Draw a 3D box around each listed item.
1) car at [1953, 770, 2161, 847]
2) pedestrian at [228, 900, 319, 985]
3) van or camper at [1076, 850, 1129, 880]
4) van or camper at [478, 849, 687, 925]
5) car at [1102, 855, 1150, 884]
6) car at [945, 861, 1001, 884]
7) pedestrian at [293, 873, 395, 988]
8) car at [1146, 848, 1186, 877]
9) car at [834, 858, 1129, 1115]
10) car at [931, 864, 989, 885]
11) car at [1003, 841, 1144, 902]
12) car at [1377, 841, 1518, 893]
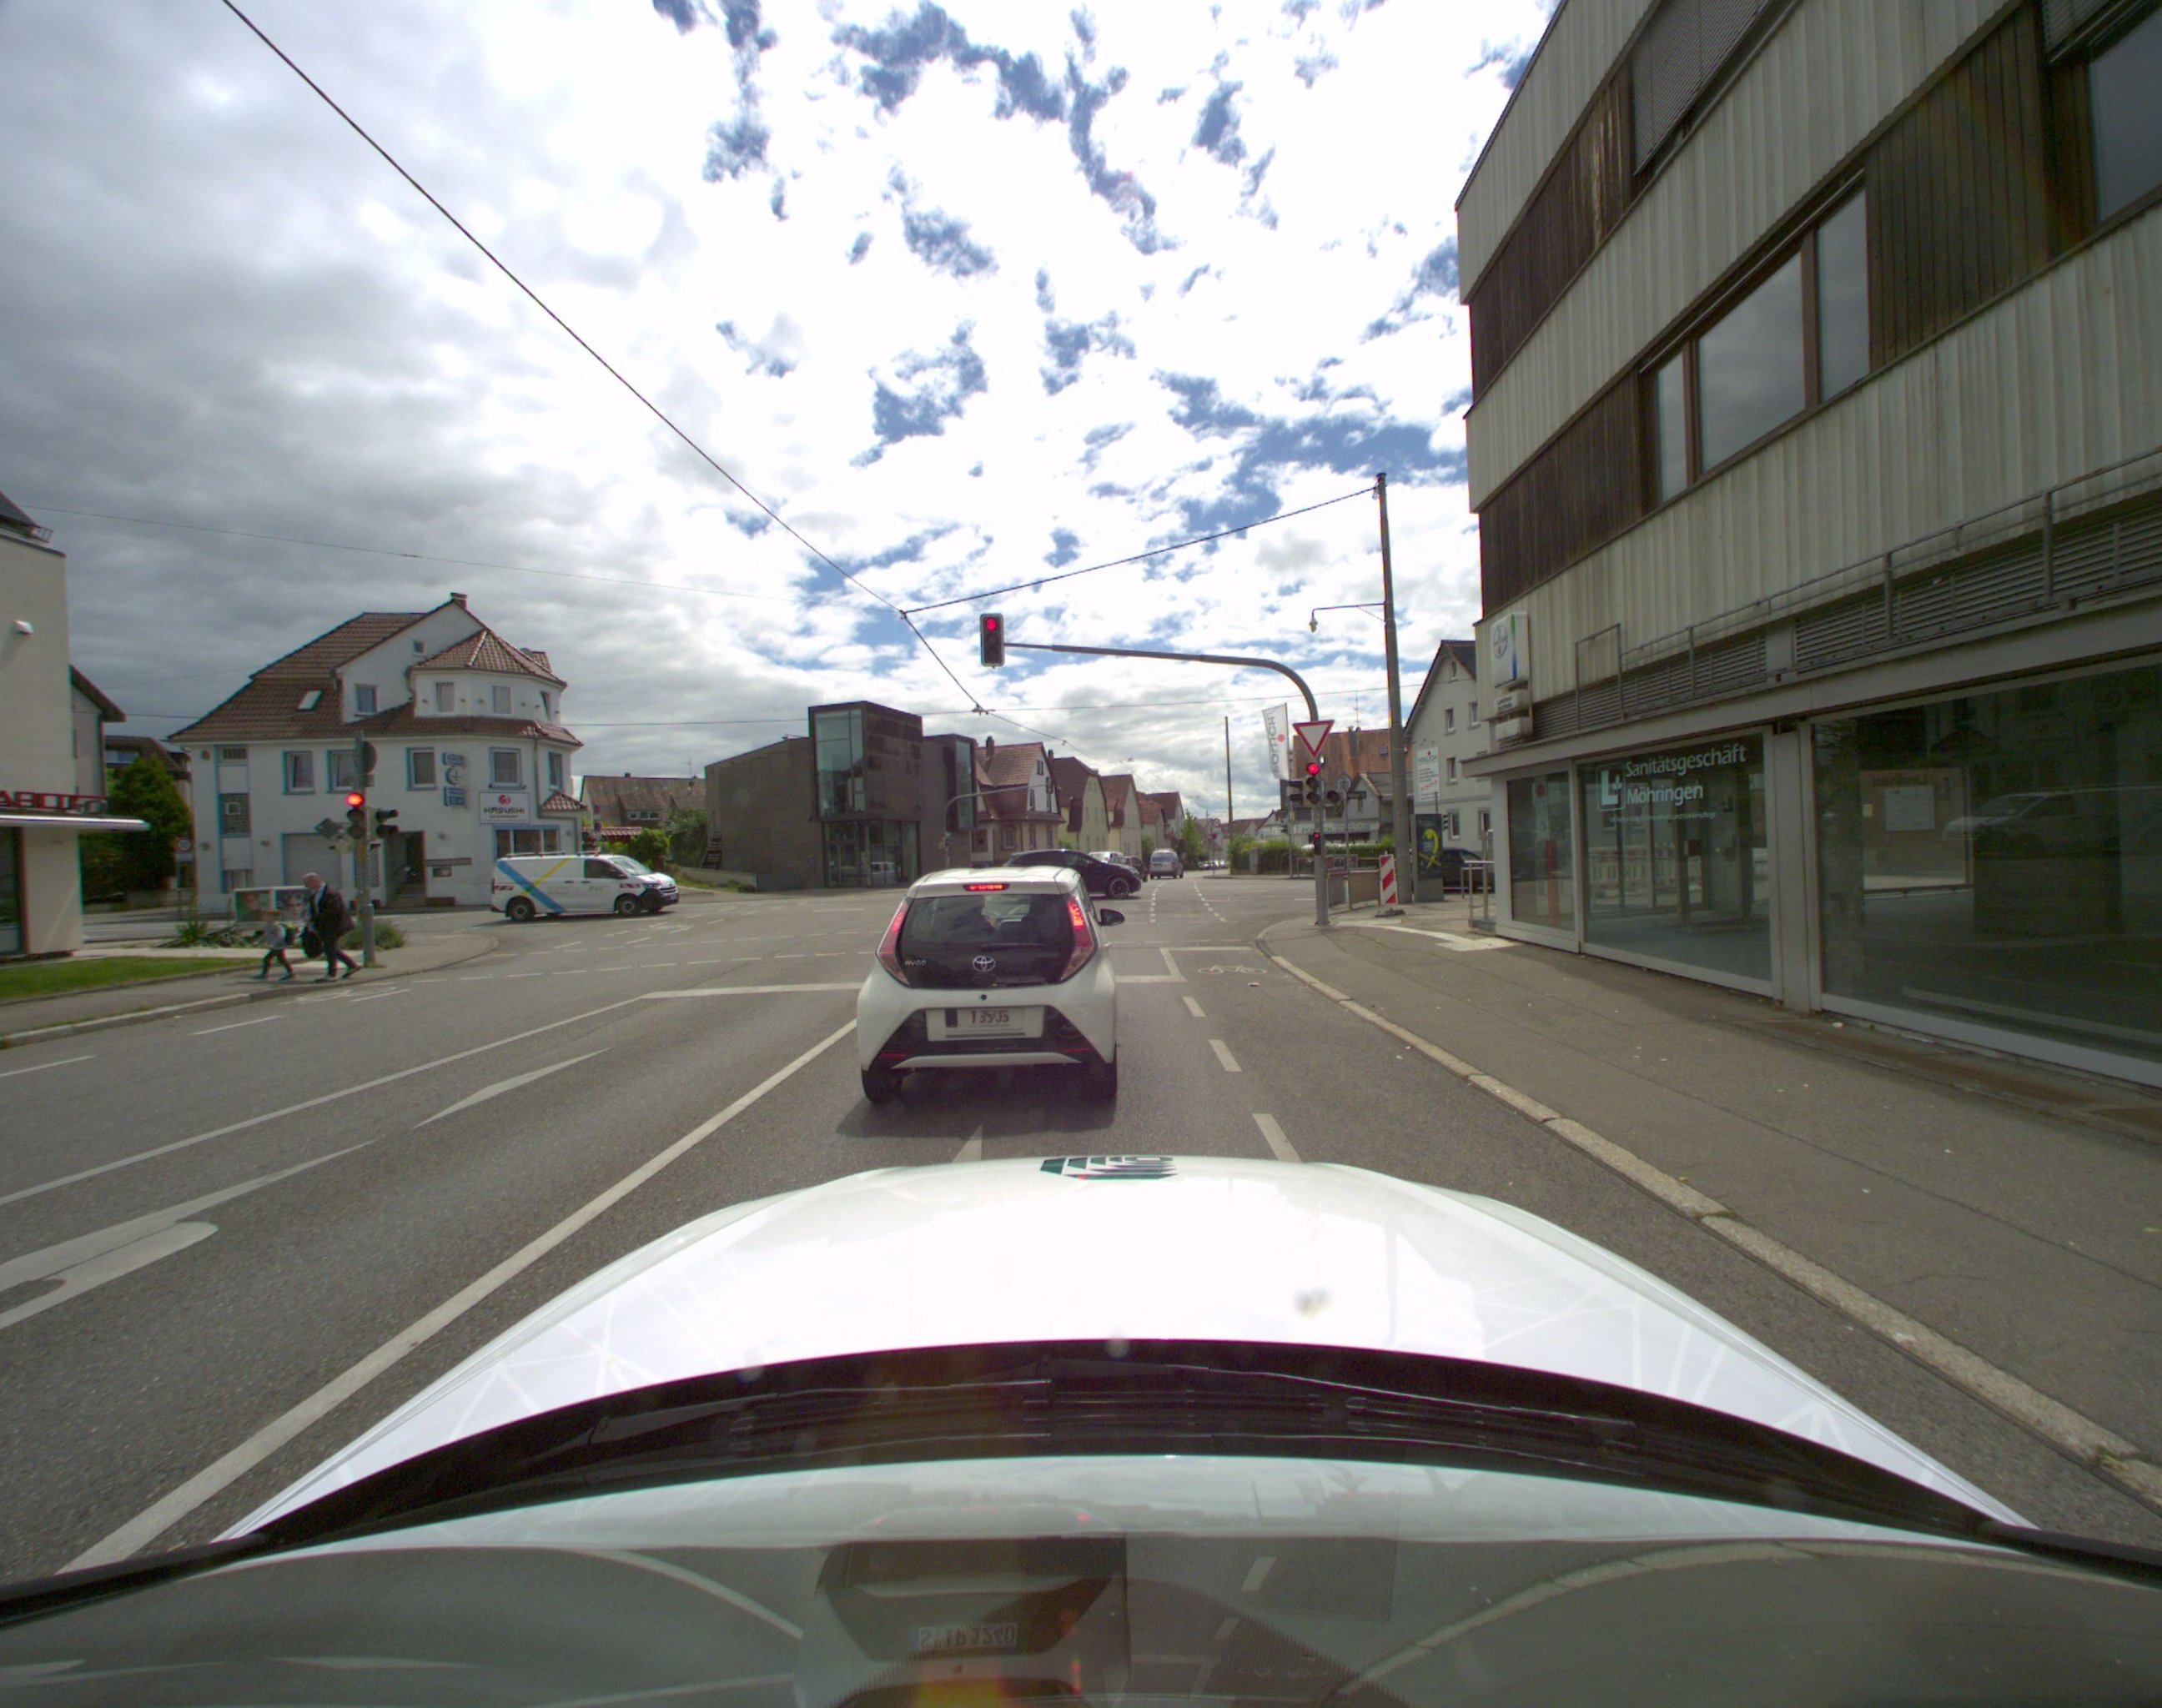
[{"bbox_3d":[28.640,-1.250,23.304,4.666,2.014,2.009,-1,0,16],"label":"car"},{"bbox_3d":[-12.522,1.350,12.651,0.643,1.221,0.734,-2,0,-5],"label":"pedestrian"},{"bbox_3d":[1.499,0.709,54.075,2.099,1.926,5.308,-1,0,17],"label":"van or camper"},{"bbox_3d":[-15.401,0.970,25.445,5.113,2.077,1.995,-2,0,-8],"label":"van or camper"},{"bbox_3d":[2.511,0.804,44.563,1.980,1.486,4.014,-1,0,13],"label":"car"},{"bbox_3d":[-7.832,1.346,59.222,3.589,1.605,1.697,-1,0,13],"label":"car"},{"bbox_3d":[-11.721,1.193,12.982,0.813,1.721,0.824,-2,0,-2],"label":"pedestrian"},{"bbox_3d":[5.695,0.523,54.193,1.979,1.849,4.089,-1,0,15],"label":"car"},{"bbox_3d":[-0.573,0.773,6.373,1.691,1.456,3.298,-1,0,0],"label":"car"},{"bbox_3d":[-8.479,1.440,57.112,3.589,1.419,1.697,-1,0,13],"label":"car"},{"bbox_3d":[-0.320,0.542,27.272,4.495,1.742,1.996,-2,2,-7],"label":"car"},{"bbox_3d":[13.344,0.452,29.770,4.291,1.675,1.994,-2,0,-9],"label":"car"}]
